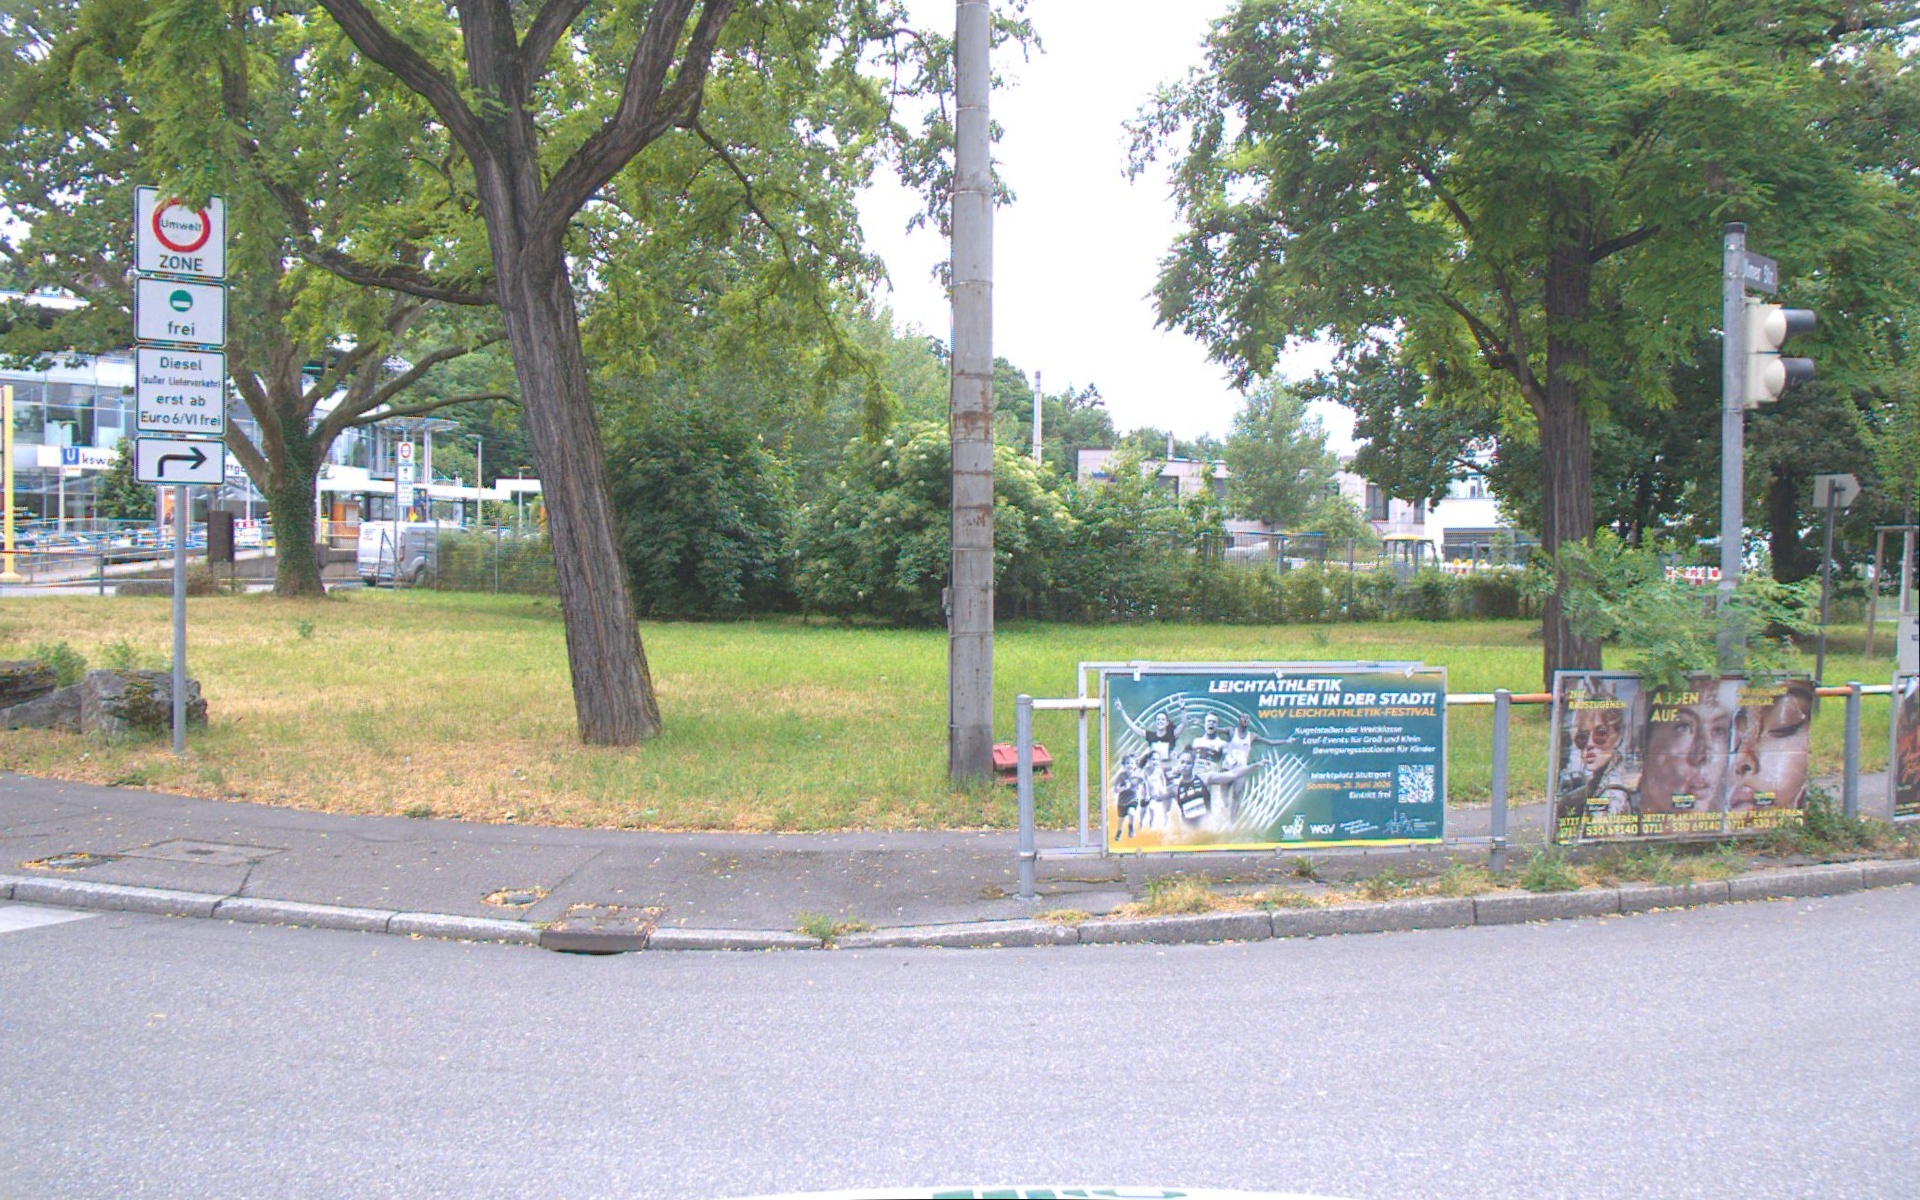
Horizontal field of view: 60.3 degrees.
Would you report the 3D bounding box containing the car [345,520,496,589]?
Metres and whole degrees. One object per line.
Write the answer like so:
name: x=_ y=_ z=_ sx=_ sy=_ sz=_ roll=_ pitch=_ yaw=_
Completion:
car: x=-17.254 y=-1.479 z=53.239 sx=1.925 sy=2.048 sz=5.305 roll=2 pitch=2 yaw=17
